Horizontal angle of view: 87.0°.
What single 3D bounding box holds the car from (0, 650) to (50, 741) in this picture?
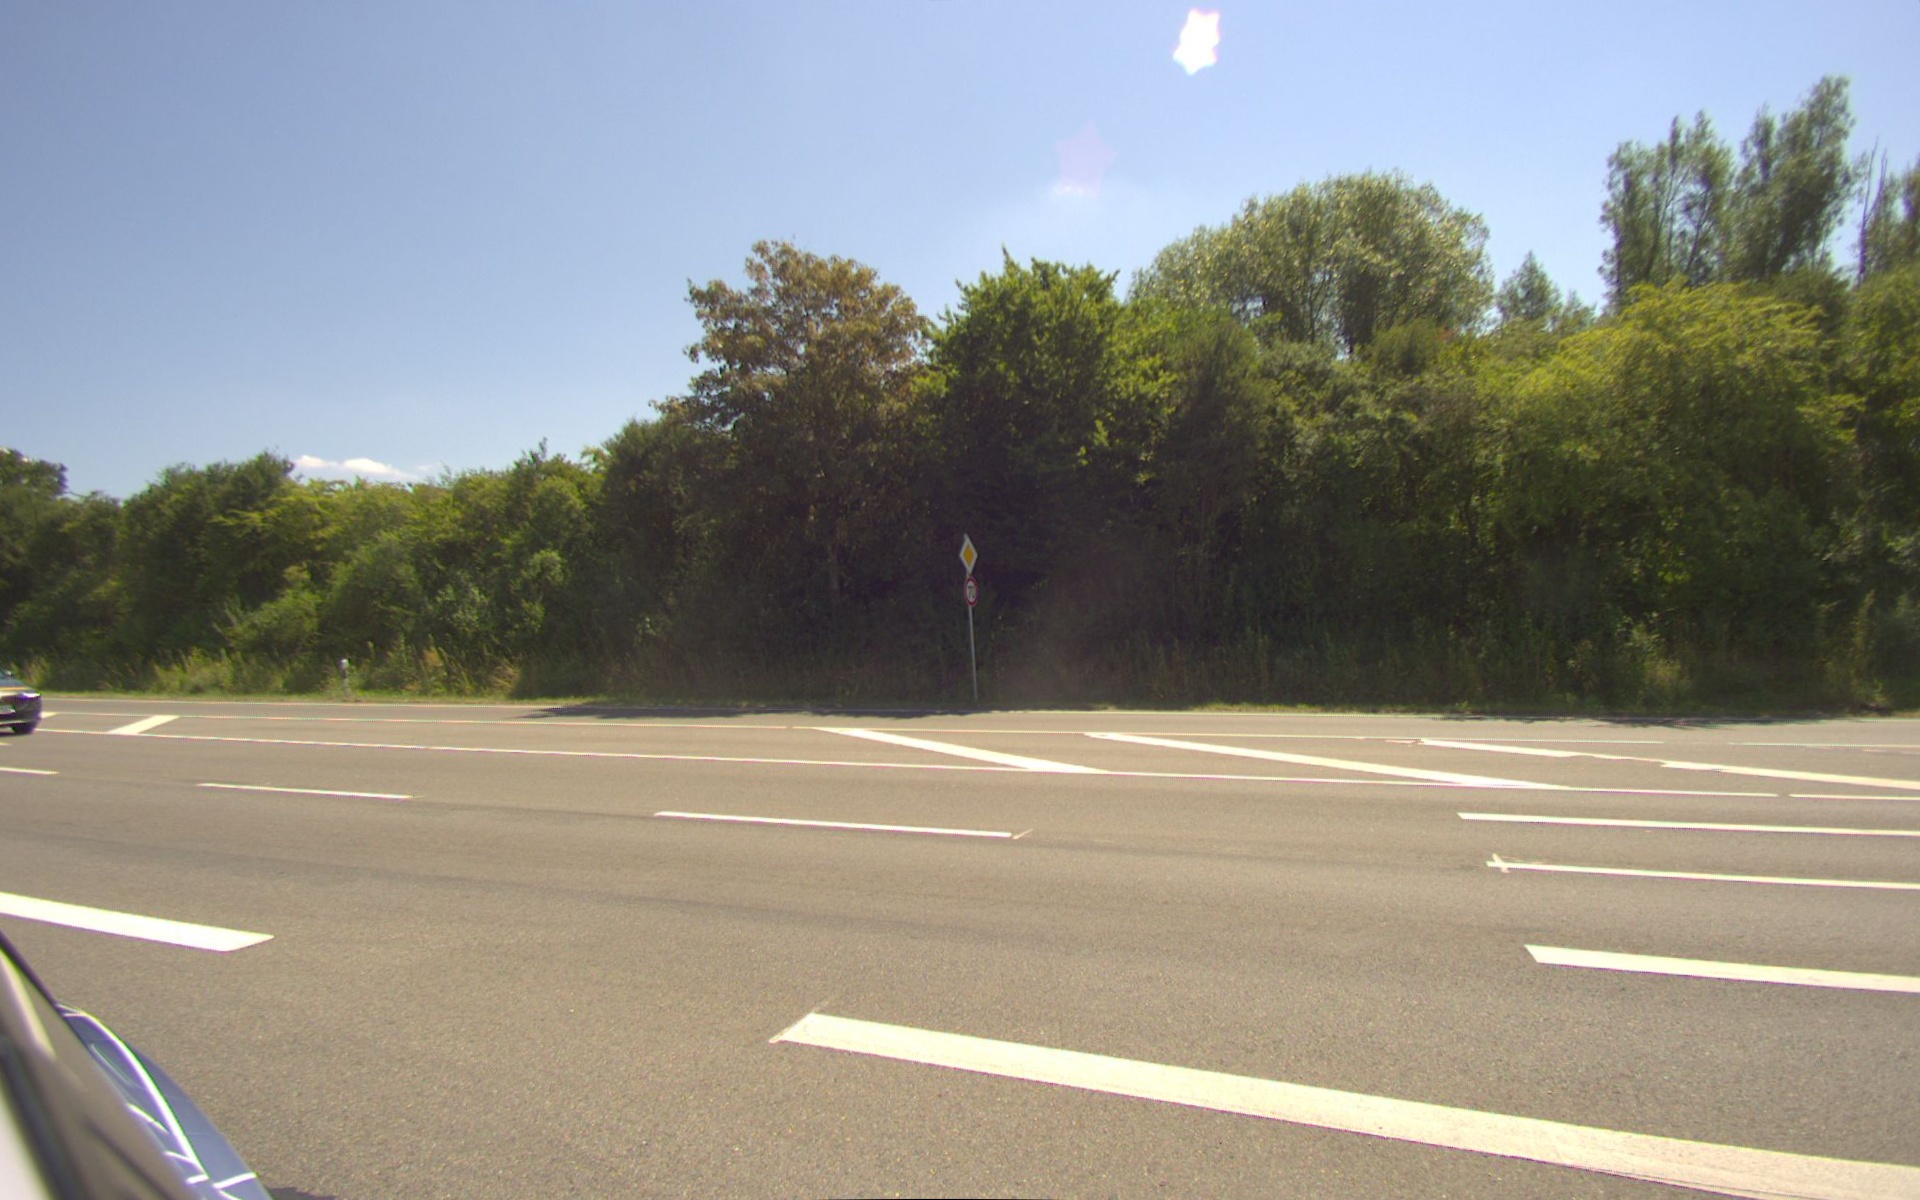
[{"bbox_3d":[-17.871,1.615,17.355,4.365,1.453,1.726,-1,-1,24],"label":"car"}]
